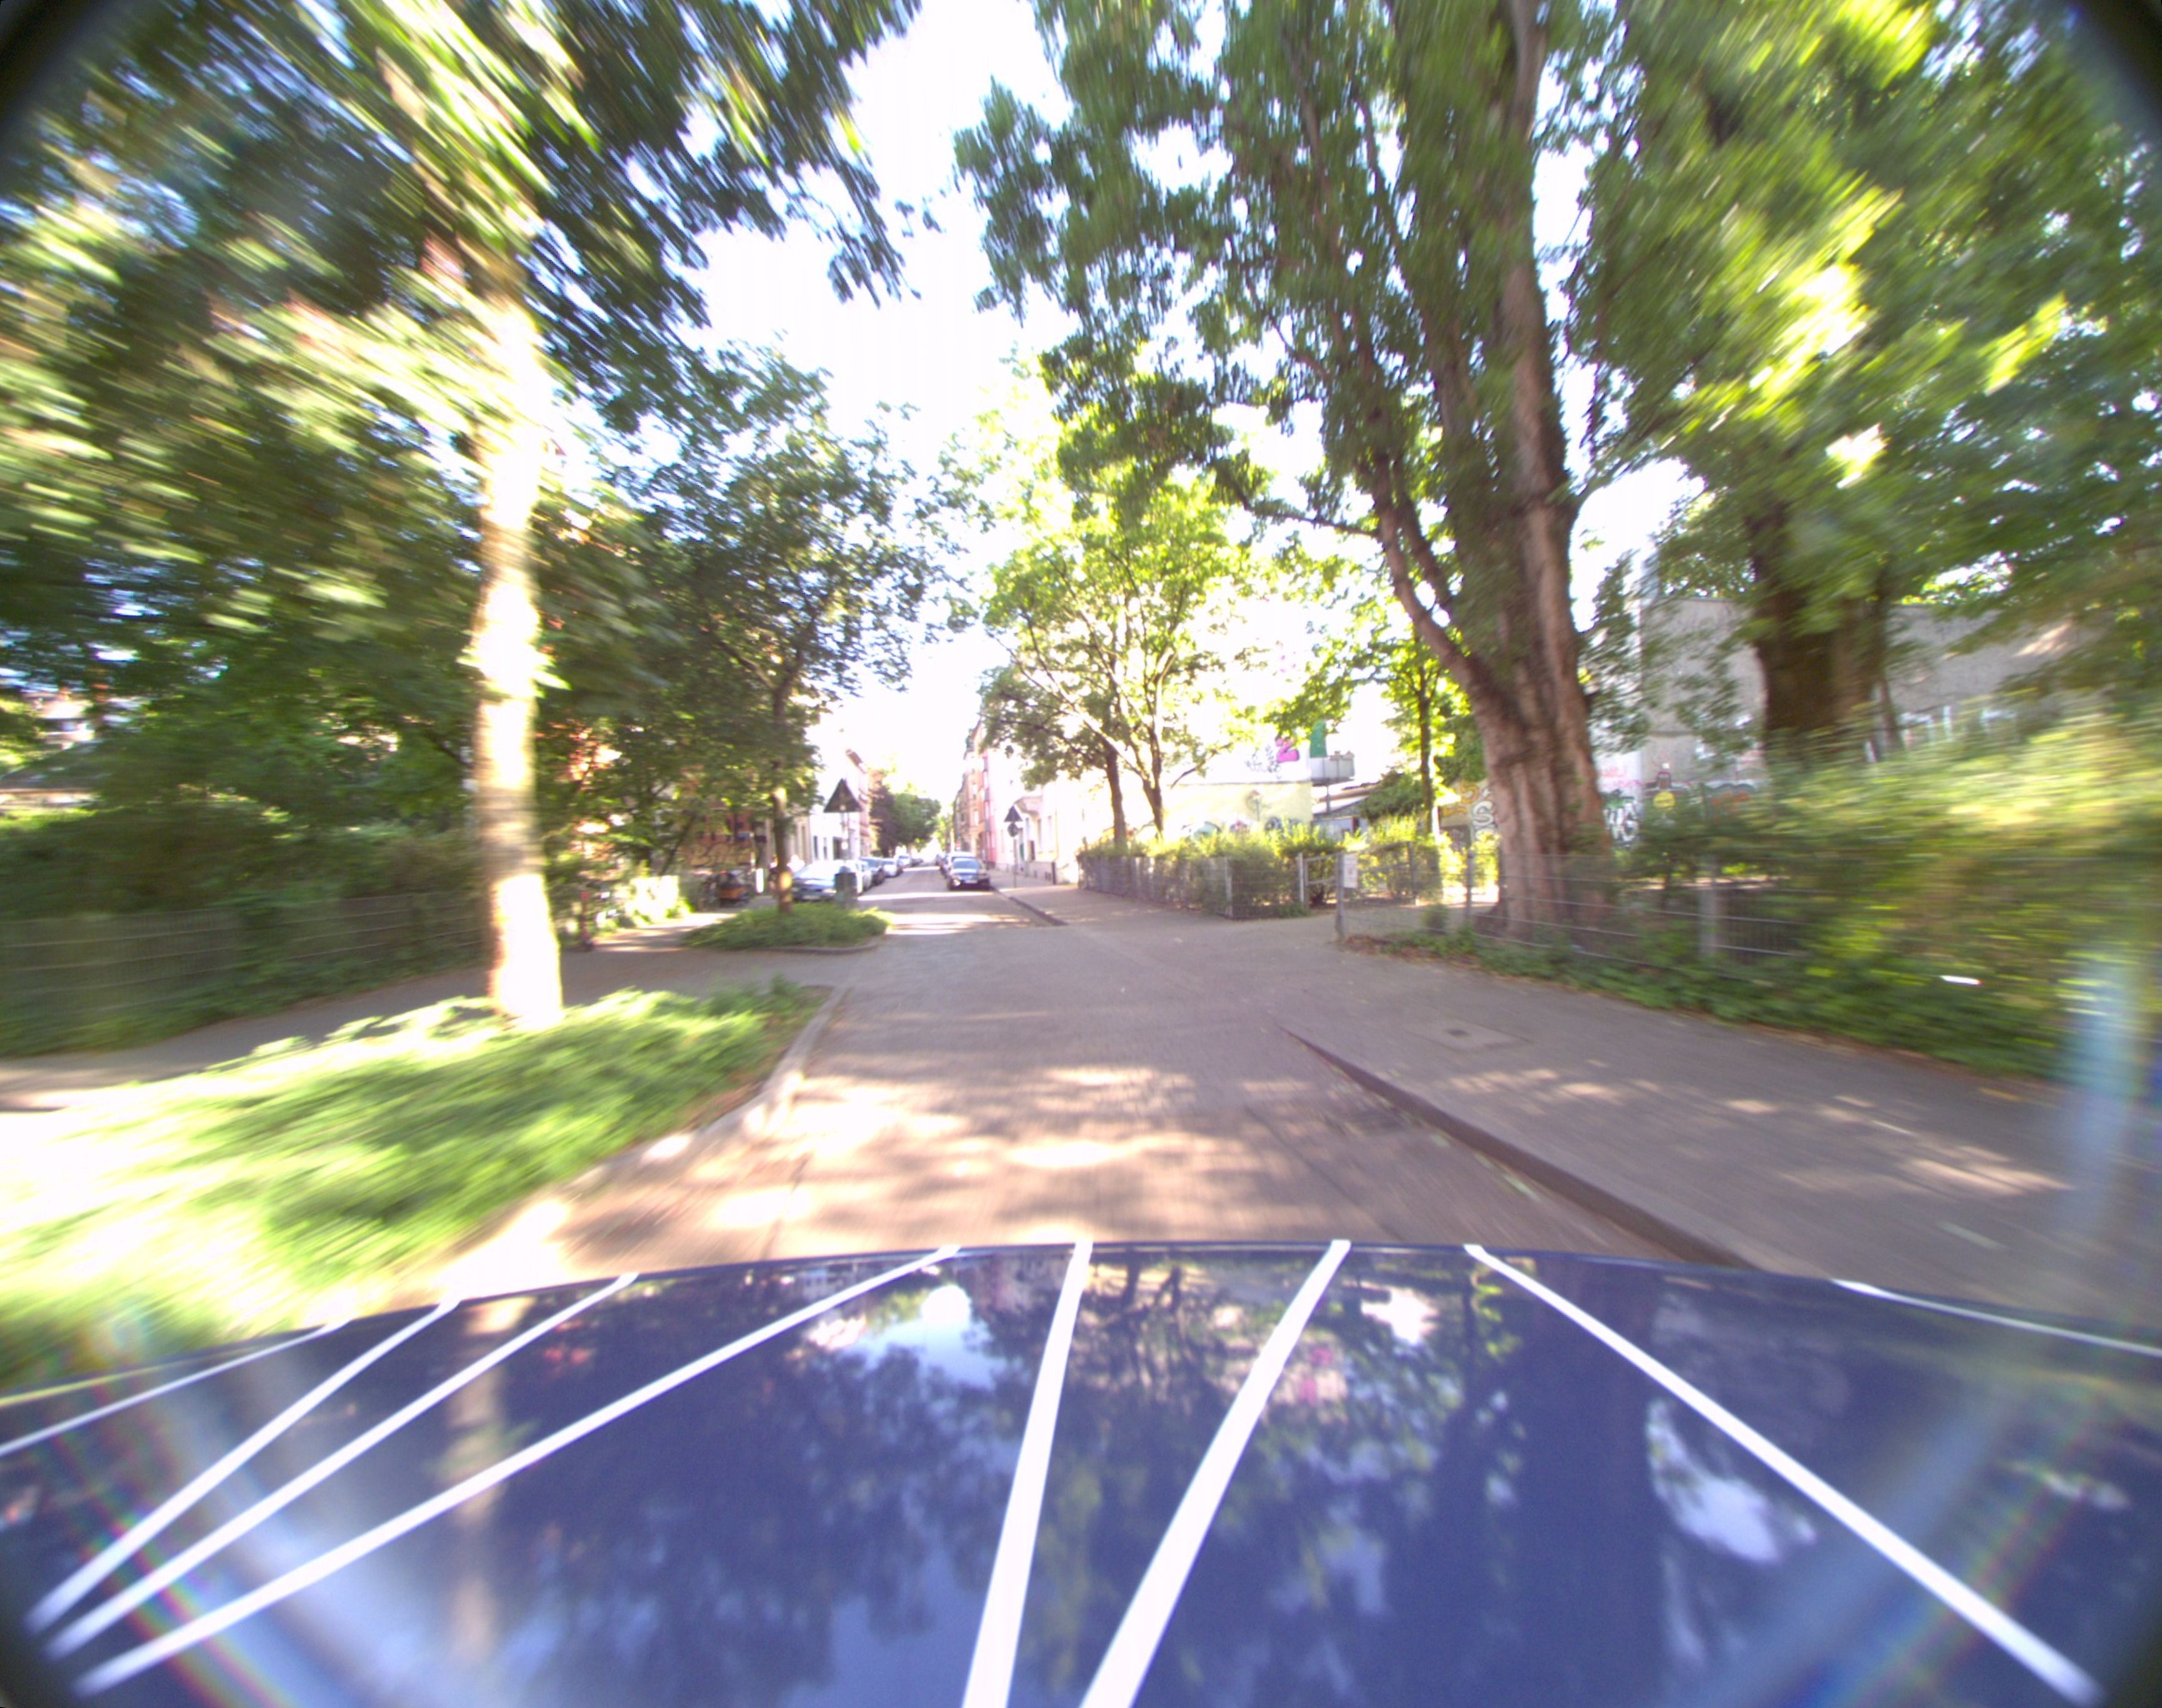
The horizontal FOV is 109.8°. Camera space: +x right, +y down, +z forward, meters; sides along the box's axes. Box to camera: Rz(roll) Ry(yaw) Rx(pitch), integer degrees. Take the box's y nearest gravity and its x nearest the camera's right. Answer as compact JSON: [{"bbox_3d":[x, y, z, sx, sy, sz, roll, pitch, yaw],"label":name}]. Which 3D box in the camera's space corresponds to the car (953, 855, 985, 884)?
[{"bbox_3d":[-5.976,0.774,40.433,1.599,1.442,3.482,0,0,-9],"label":"car"}]

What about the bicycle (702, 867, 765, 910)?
[{"bbox_3d":[-11.576,1.114,25.411,1.295,1.294,2.325,0,0,-8],"label":"bicycle"}]

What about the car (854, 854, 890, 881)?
[{"bbox_3d":[-13.547,0.835,49.451,1.888,1.657,4.323,0,0,-11],"label":"car"}]

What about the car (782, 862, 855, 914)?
[{"bbox_3d":[-8.656,1.060,25.401,1.727,1.485,4.409,-1,1,-12],"label":"car"}]

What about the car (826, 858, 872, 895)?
[{"bbox_3d":[-10.754,1.002,35.432,1.599,1.576,3.760,-1,0,-11],"label":"car"}]

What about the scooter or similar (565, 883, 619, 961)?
[{"bbox_3d":[-8.725,1.170,13.536,0.547,1.254,1.469,-2,1,-42],"label":"scooter or similar"}]

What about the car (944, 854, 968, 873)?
[{"bbox_3d":[-10.131,0.729,61.516,1.770,1.463,3.812,0,0,-11],"label":"car"}]

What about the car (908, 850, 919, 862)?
[{"bbox_3d":[-28.087,0.337,127.371,1.770,2.006,4.259,0,1,-11],"label":"car"}]

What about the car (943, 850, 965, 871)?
[{"bbox_3d":[-11.181,0.545,66.755,1.770,1.814,4.098,0,0,-11],"label":"car"}]

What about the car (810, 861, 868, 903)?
[{"bbox_3d":[-9.541,1.055,30.266,1.665,1.485,4.349,-1,0,-11],"label":"car"}]

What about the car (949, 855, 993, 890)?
[{"bbox_3d":[-5.065,0.782,34.519,1.785,1.435,4.387,0,0,-11],"label":"car"}]

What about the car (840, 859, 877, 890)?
[{"bbox_3d":[-11.591,1.019,39.706,1.599,1.442,3.998,-1,0,-13],"label":"car"}]

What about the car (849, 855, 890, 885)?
[{"bbox_3d":[-12.298,0.891,44.439,1.772,1.657,4.324,-2,0,-9],"label":"car"}]

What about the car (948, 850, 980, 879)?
[{"bbox_3d":[-7.392,0.615,47.751,1.756,1.731,4.310,0,0,-12],"label":"car"}]

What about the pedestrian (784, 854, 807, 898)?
[{"bbox_3d":[-11.170,0.858,29.757,0.712,1.699,0.751,1,1,-11],"label":"pedestrian"}]

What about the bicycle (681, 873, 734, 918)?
[{"bbox_3d":[-11.174,1.214,22.800,0.849,1.194,1.980,-2,0,-9],"label":"bicycle"}]

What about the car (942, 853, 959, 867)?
[{"bbox_3d":[-14.066,0.630,81.680,1.770,1.524,4.098,0,0,-11],"label":"car"}]

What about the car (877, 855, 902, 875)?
[{"bbox_3d":[-15.541,0.877,61.826,1.770,1.508,4.098,0,0,-11],"label":"car"}]

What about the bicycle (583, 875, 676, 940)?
[{"bbox_3d":[-10.237,1.166,17.389,0.849,1.260,2.690,-2,0,-9],"label":"bicycle"}]

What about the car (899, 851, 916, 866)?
[{"bbox_3d":[-23.385,0.550,102.584,1.867,1.970,4.477,0,0,-7],"label":"car"}]

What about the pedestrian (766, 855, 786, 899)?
[{"bbox_3d":[-11.839,0.875,29.507,0.599,1.699,0.705,1,1,-11],"label":"pedestrian"}]

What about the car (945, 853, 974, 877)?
[{"bbox_3d":[-8.375,0.743,52.584,1.676,1.519,4.082,0,0,-5],"label":"car"}]
